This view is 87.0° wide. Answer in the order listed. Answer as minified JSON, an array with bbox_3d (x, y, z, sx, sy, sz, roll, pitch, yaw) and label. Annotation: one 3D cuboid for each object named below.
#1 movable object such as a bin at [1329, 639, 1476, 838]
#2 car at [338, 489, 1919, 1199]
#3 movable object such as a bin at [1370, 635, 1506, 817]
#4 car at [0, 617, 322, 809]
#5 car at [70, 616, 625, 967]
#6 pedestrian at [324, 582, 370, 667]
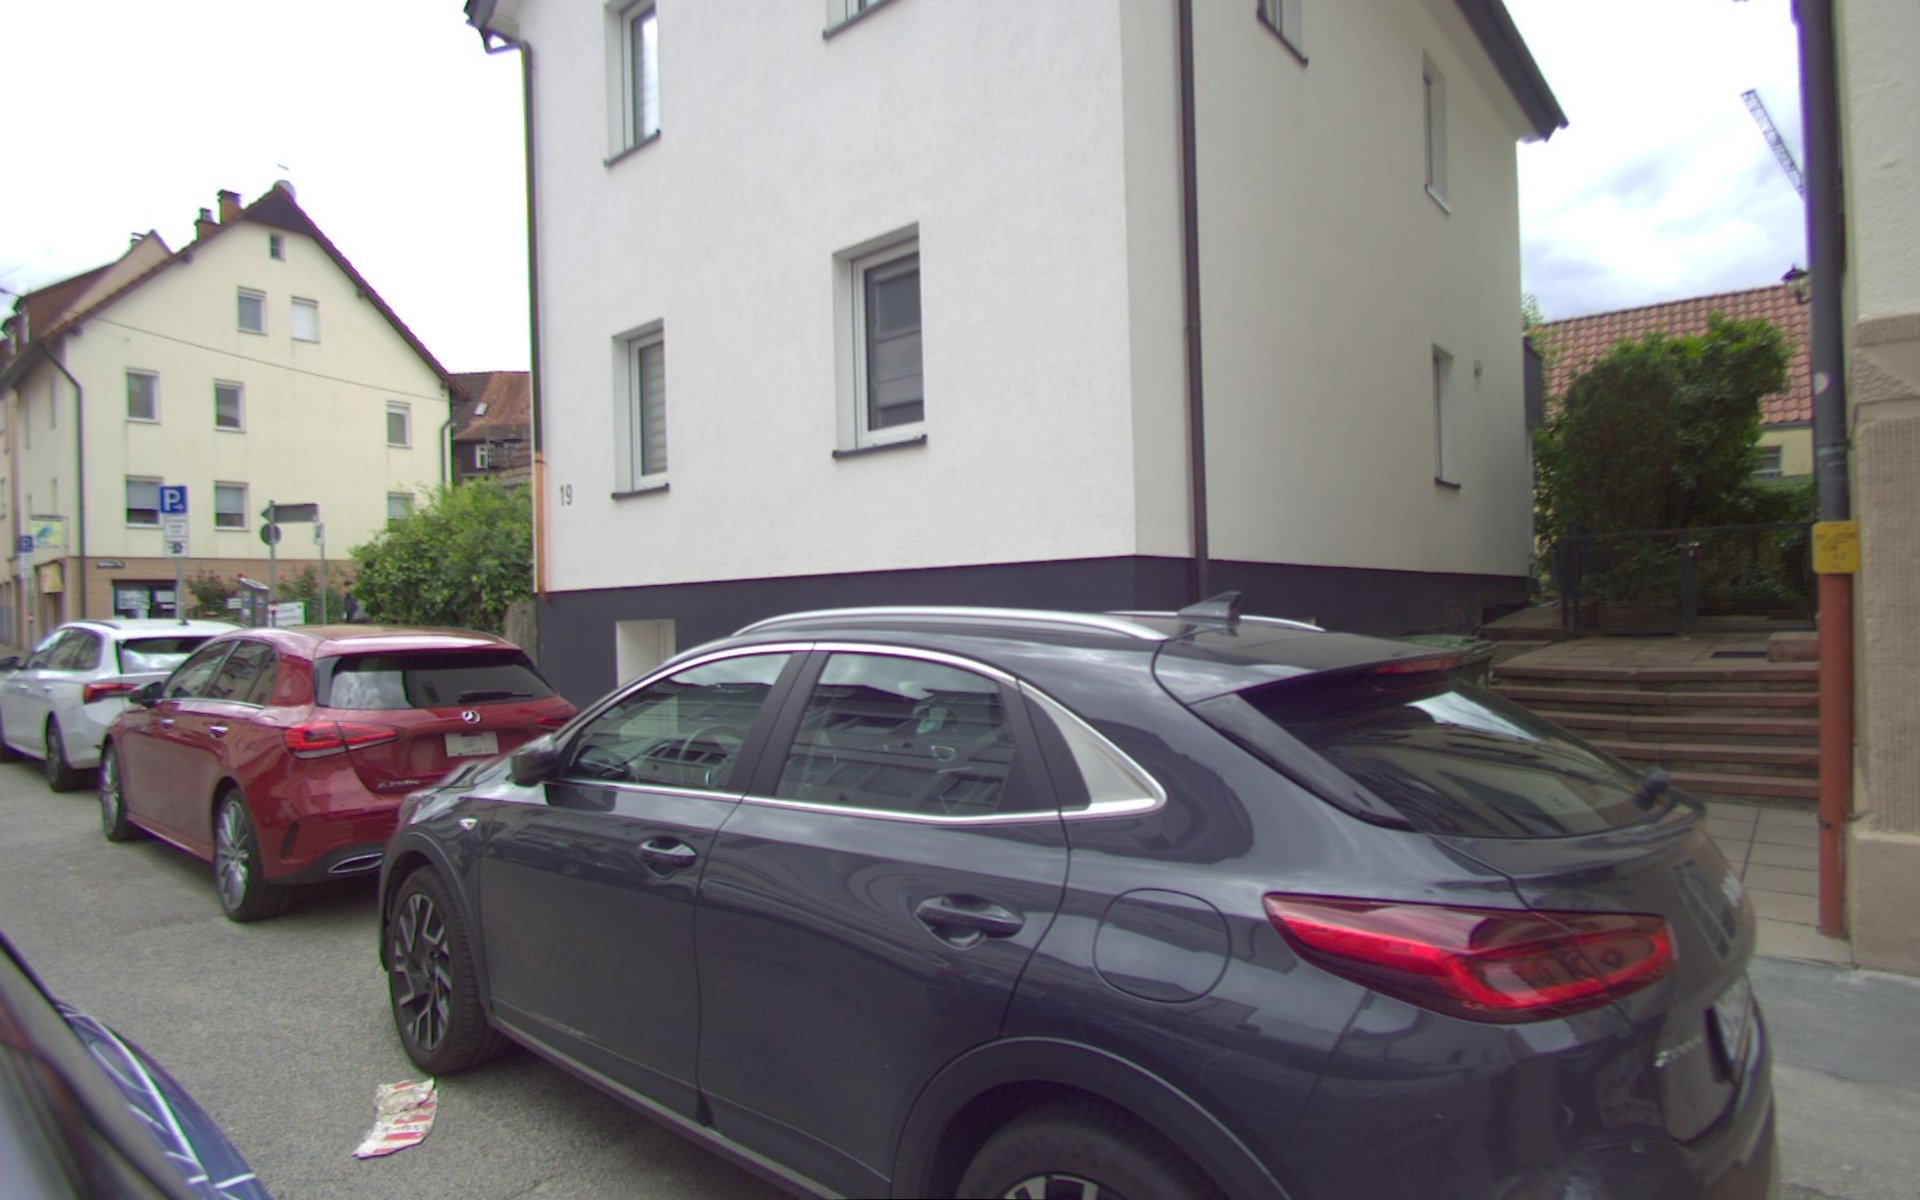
[{"bbox_3d":[2.675,0.796,6.123,0.668,1.094,0.508,-2,0,41],"label":"movable object such as a bin"},{"bbox_3d":[-0.086,0.706,2.882,4.083,1.521,1.733,-1,-2,42],"label":"car"},{"bbox_3d":[3.135,0.791,6.636,0.668,1.094,0.508,-2,0,41],"label":"movable object such as a bin"},{"bbox_3d":[-8.014,0.910,9.756,4.343,1.442,1.735,0,-2,38],"label":"car"},{"bbox_3d":[-3.973,0.859,6.274,4.064,1.460,1.733,-1,-2,41],"label":"car"},{"bbox_3d":[-12.179,0.475,20.115,0.624,1.644,0.542,2,2,30],"label":"pedestrian"}]
